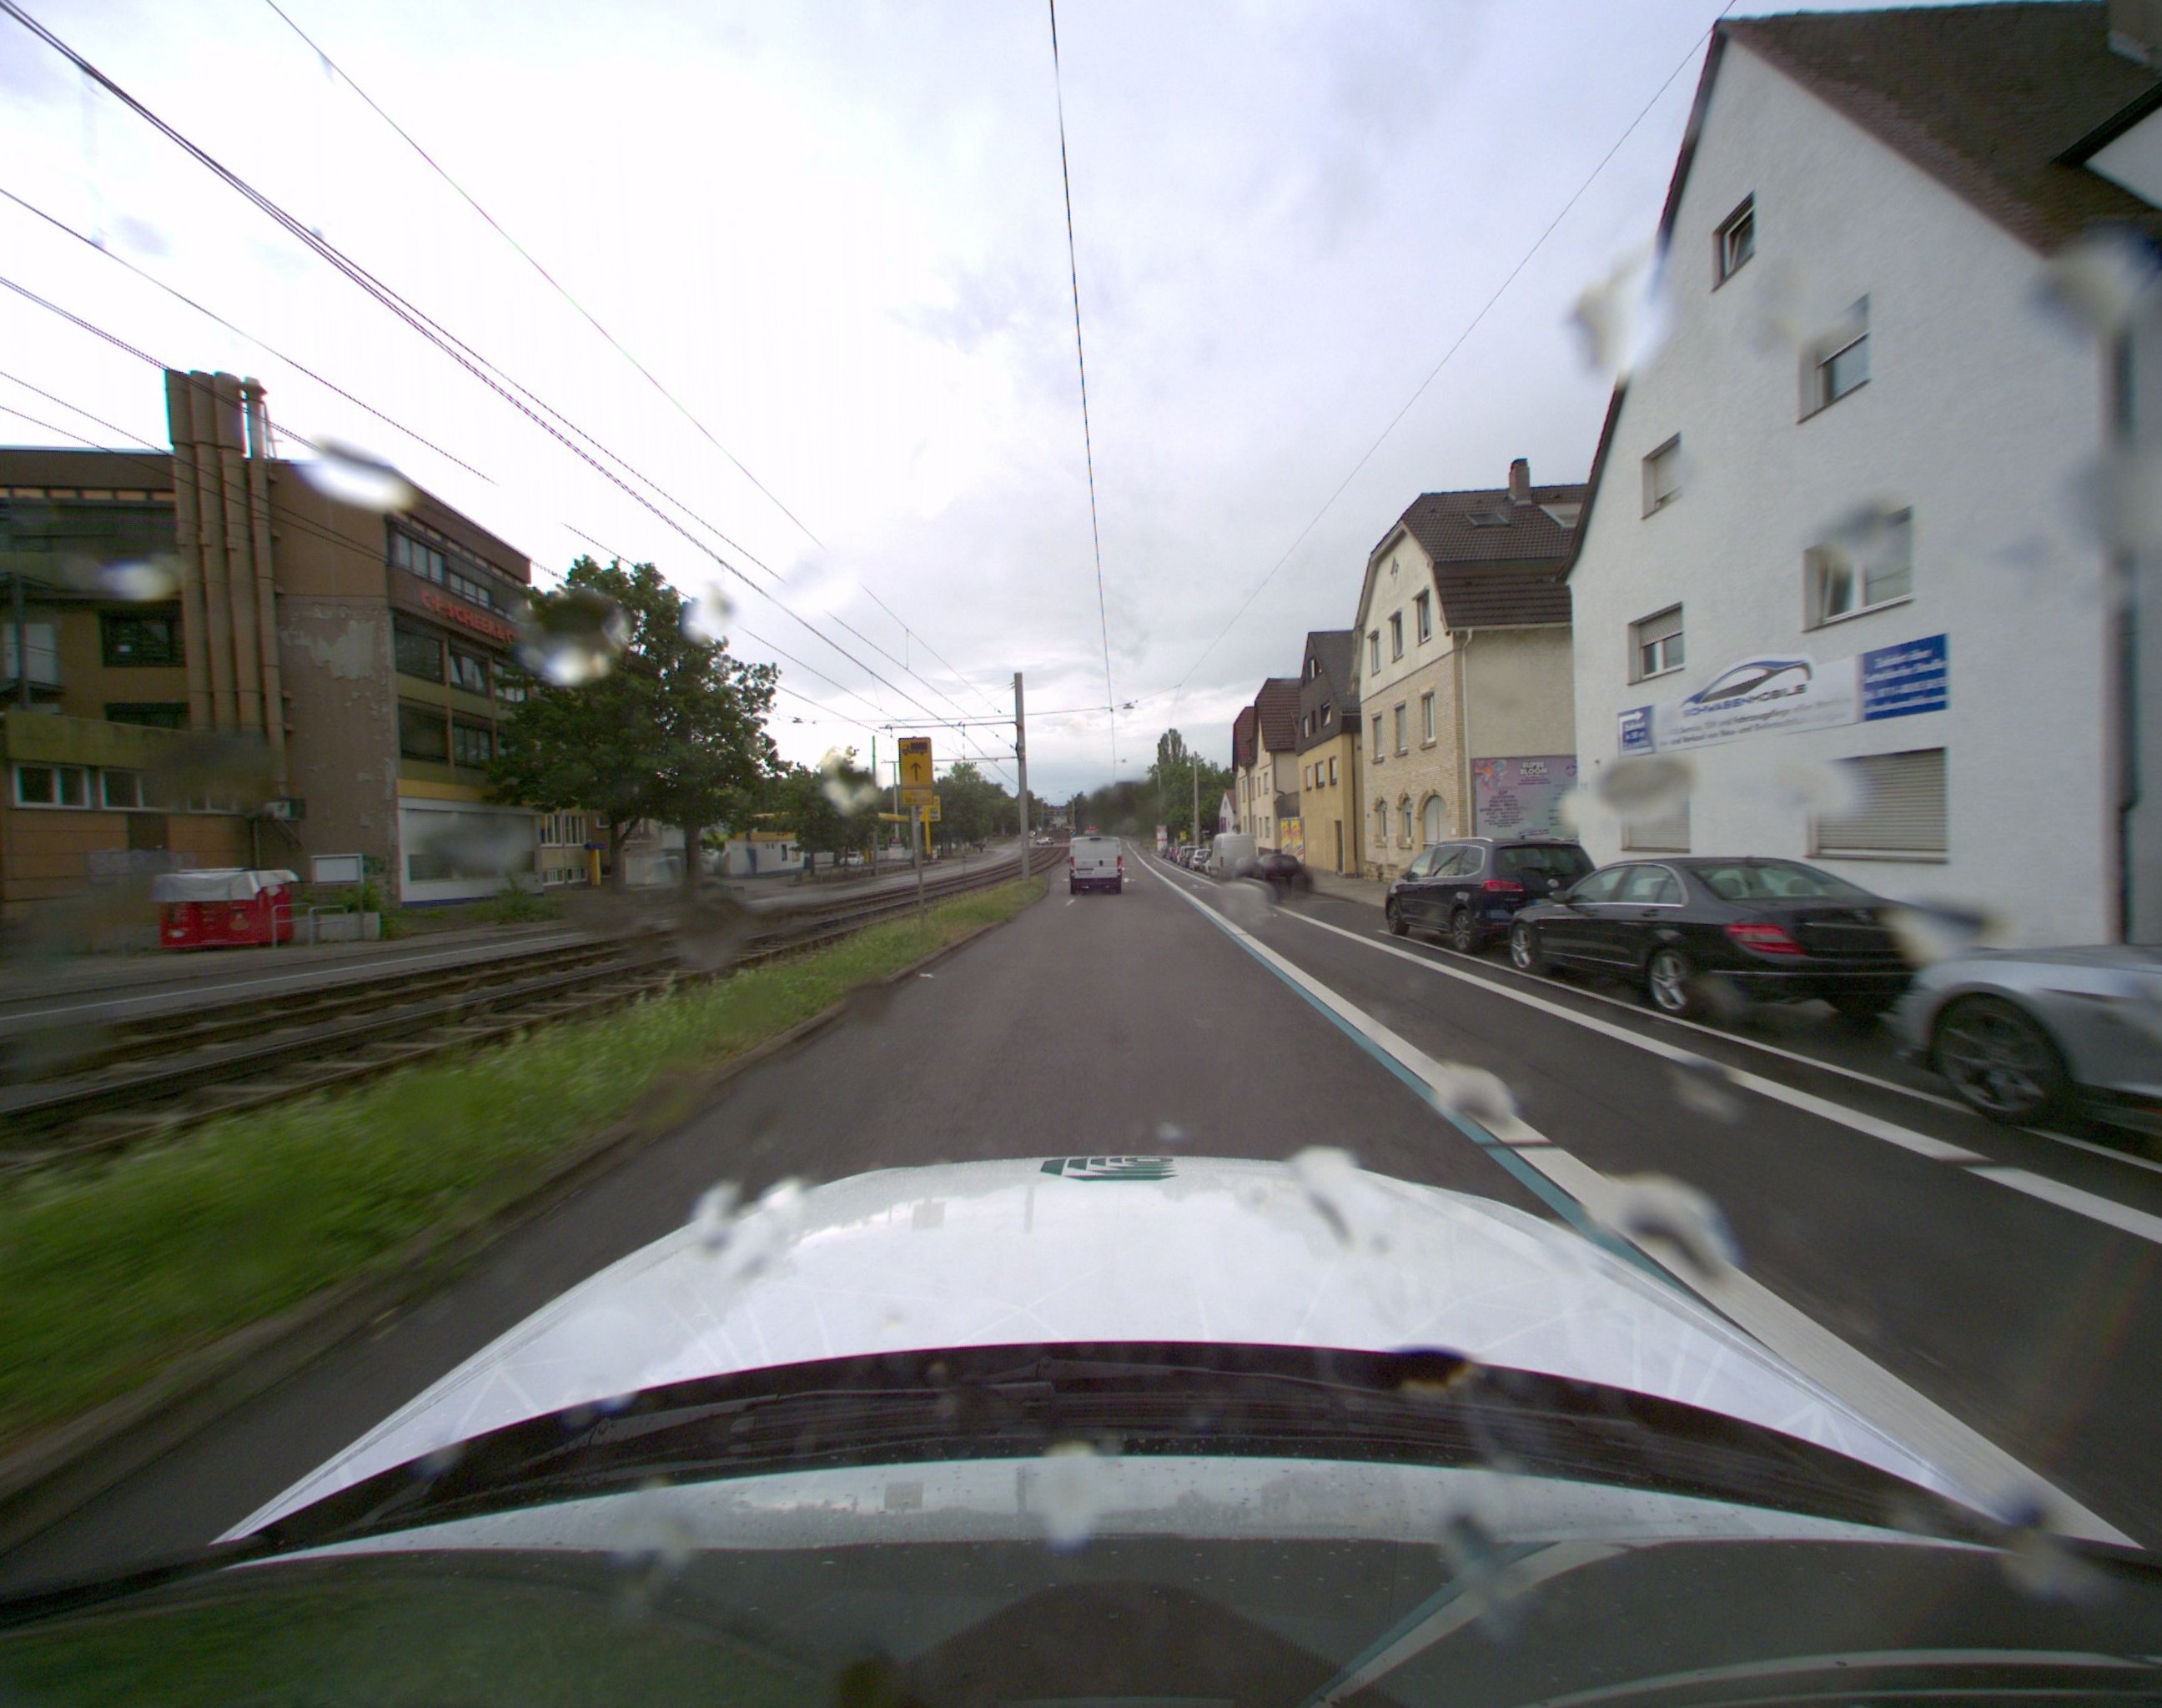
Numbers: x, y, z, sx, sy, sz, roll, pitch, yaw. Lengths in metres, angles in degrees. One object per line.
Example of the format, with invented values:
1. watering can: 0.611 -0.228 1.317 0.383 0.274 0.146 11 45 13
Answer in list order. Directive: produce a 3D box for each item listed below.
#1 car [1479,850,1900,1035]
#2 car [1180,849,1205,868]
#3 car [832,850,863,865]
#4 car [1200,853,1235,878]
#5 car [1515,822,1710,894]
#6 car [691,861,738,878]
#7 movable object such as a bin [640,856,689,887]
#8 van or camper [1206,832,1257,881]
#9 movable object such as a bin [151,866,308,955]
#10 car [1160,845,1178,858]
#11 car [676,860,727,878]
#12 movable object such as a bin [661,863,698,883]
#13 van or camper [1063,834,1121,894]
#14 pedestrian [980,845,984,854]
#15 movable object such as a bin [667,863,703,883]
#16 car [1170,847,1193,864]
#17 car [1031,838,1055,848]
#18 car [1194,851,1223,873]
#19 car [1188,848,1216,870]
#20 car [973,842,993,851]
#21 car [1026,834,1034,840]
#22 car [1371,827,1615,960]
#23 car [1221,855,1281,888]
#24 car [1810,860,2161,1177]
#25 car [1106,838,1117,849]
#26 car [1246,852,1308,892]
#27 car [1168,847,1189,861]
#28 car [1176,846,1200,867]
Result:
1. car: 6.111 0.742 8.898 1.627 1.538 4.137 0 0 2
2. car: 9.118 0.358 66.809 1.640 1.446 3.956 0 1 2
3. car: -23.725 0.353 82.748 1.987 1.442 3.999 0 0 0
4. car: 8.580 0.696 51.415 1.702 1.446 4.043 0 1 2
5. car: 14.092 0.088 21.777 3.974 1.653 1.870 -3 0 0
6. car: -32.862 1.385 73.058 3.781 1.479 1.563 0 0 -24
7. movable object such as a bin: -28.593 1.171 56.050 1.993 1.919 3.561 0 1 -9
8. van or camper: 8.340 0.072 45.601 1.986 2.563 6.046 0 1 2
9. movable object such as a bin: -22.143 1.428 21.269 2.131 2.157 1.798 0 1 -7
10. car: 10.343 -0.292 95.865 1.841 1.500 3.955 0 0 1
11. car: -31.491 1.266 67.696 3.781 1.454 1.540 0 0 -24
12. movable object such as a bin: -28.989 1.390 58.817 1.993 1.375 1.565 0 1 -9
13. van or camper: 0.379 0.388 33.106 2.193 2.252 4.681 0 0 -1
14. pedestrian: -16.636 -0.715 136.569 0.612 1.475 0.640 -2 0 -12
15. movable object such as a bin: -29.477 1.395 60.623 1.993 1.375 1.565 0 1 -9
16. car: 10.135 0.128 82.469 1.841 1.645 3.955 0 1 1
17. car: -7.988 -2.346 171.050 4.473 2.014 2.011 0 0 23
18. car: 8.791 0.521 56.292 1.619 1.448 3.710 0 1 3
19. car: 9.073 0.344 61.384 1.640 1.615 4.106 0 1 2
20. car: -20.740 -1.632 172.543 3.983 1.849 1.995 -2 0 -7
21. car: -13.898 -4.676 222.012 1.684 1.711 3.776 0 0 0
22. car: 6.486 0.539 13.517 1.832 1.800 4.688 0 0 2
23. car: 7.949 0.776 38.517 1.783 1.406 4.550 0 0 -1
24. car: 5.690 0.741 3.171 1.788 1.376 4.676 -1 0 5
25. car: 5.794 -1.948 154.795 1.986 2.014 4.002 0 0 2
26. car: 7.797 0.686 32.668 1.561 1.498 3.511 0 0 -1
27. car: 10.787 0.023 90.184 1.841 1.500 3.955 0 0 1
28. car: 9.498 0.221 72.518 1.741 1.807 3.955 0 1 1
